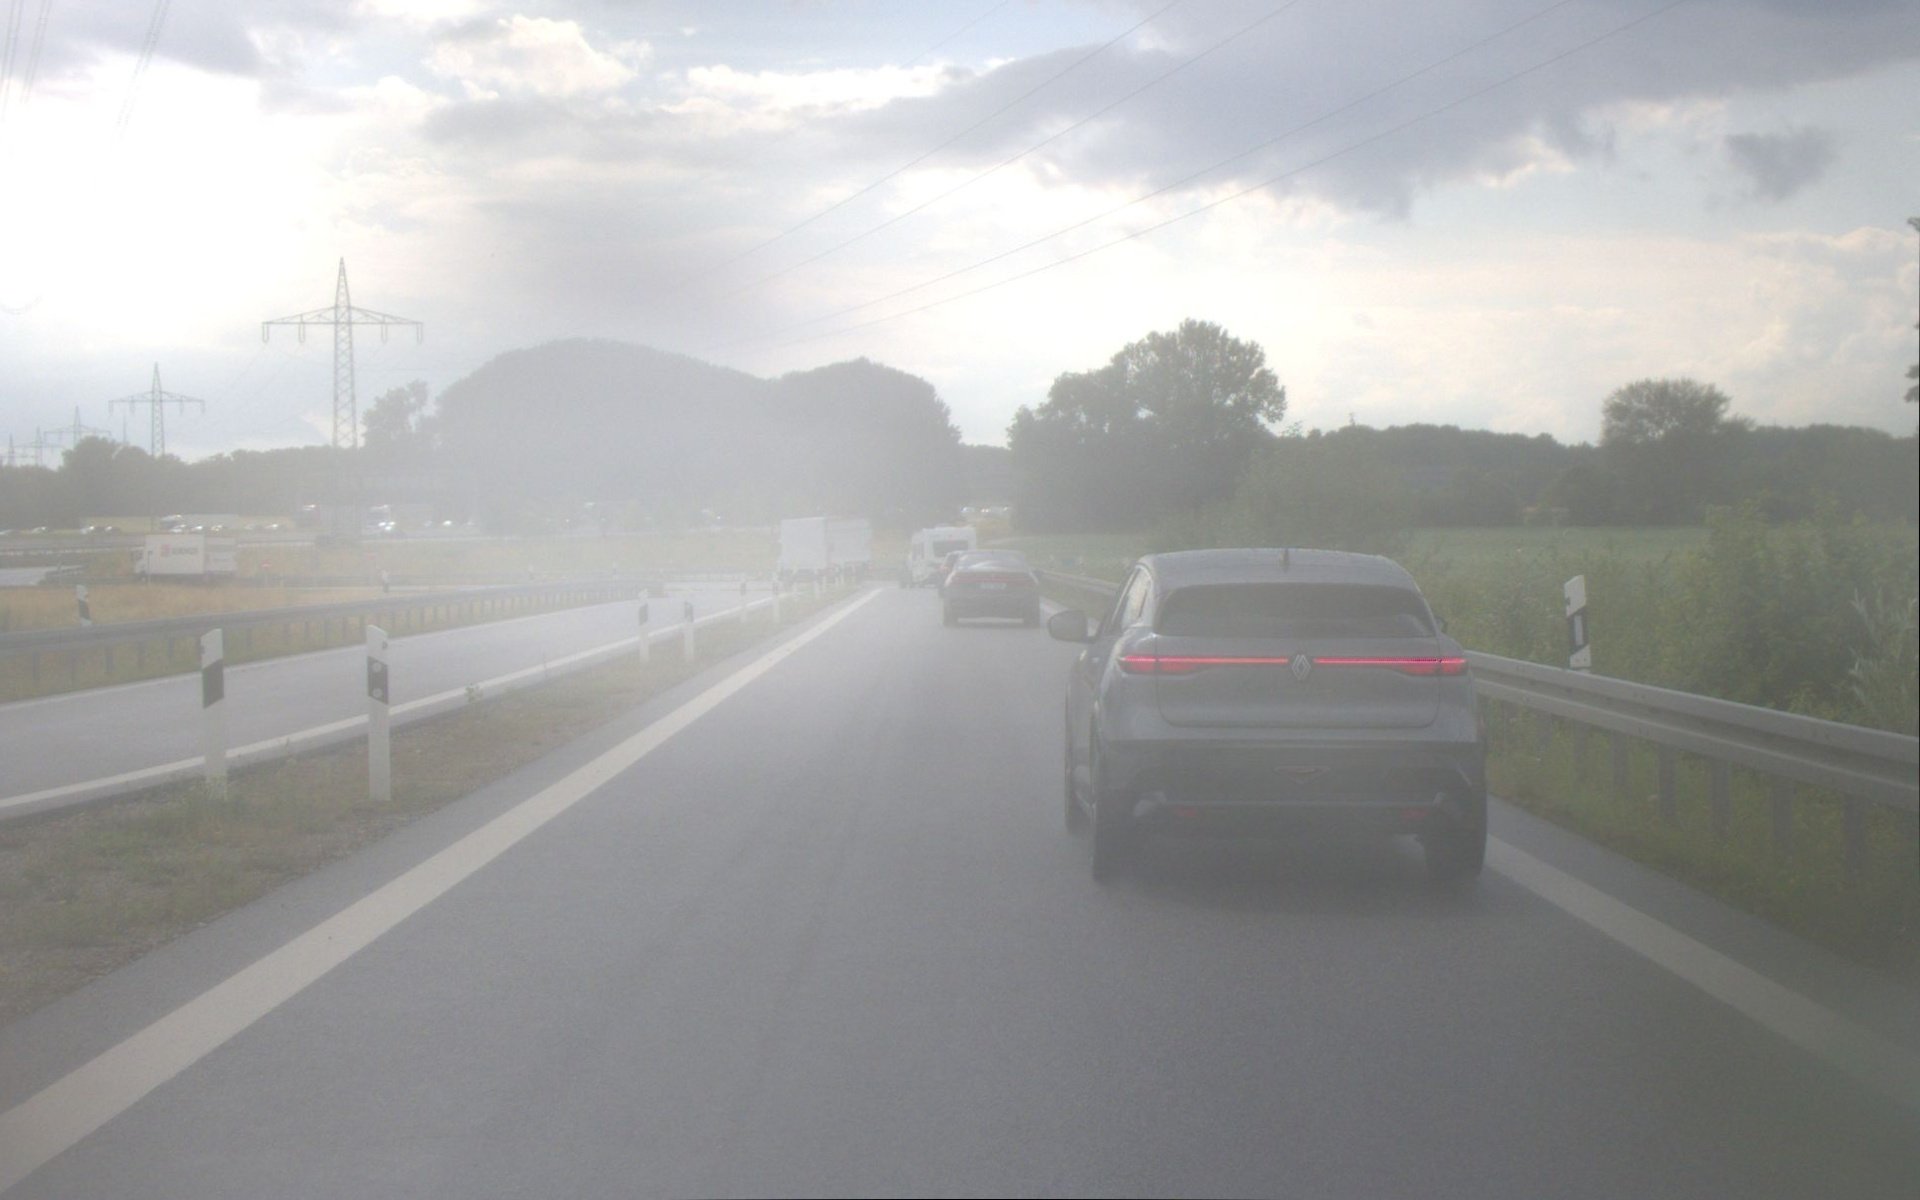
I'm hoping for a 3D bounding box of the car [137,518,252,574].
[{"bbox_3d":[-50.692,-3.540,227.473,3.385,3.598,9.040,-2,2,-42],"label":"car"}]

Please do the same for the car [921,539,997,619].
[{"bbox_3d":[-0.060,-0.700,110.051,2.351,2.299,5.129,0,3,-1],"label":"car"}]

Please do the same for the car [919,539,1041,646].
[{"bbox_3d":[0.357,-0.196,69.034,2.121,2.011,5.535,-1,1,-3],"label":"car"}]

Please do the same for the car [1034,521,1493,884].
[{"bbox_3d":[1.415,0.403,17.232,1.994,1.561,4.149,1,1,2],"label":"car"}]

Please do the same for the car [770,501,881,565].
[{"bbox_3d":[-6.890,-3.437,174.989,3.135,2.941,7.211,-2,4,-25],"label":"car"}]

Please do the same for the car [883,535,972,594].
[{"bbox_3d":[-1.445,-1.553,148.773,2.350,2.299,5.131,-2,3,-19],"label":"car"}]
